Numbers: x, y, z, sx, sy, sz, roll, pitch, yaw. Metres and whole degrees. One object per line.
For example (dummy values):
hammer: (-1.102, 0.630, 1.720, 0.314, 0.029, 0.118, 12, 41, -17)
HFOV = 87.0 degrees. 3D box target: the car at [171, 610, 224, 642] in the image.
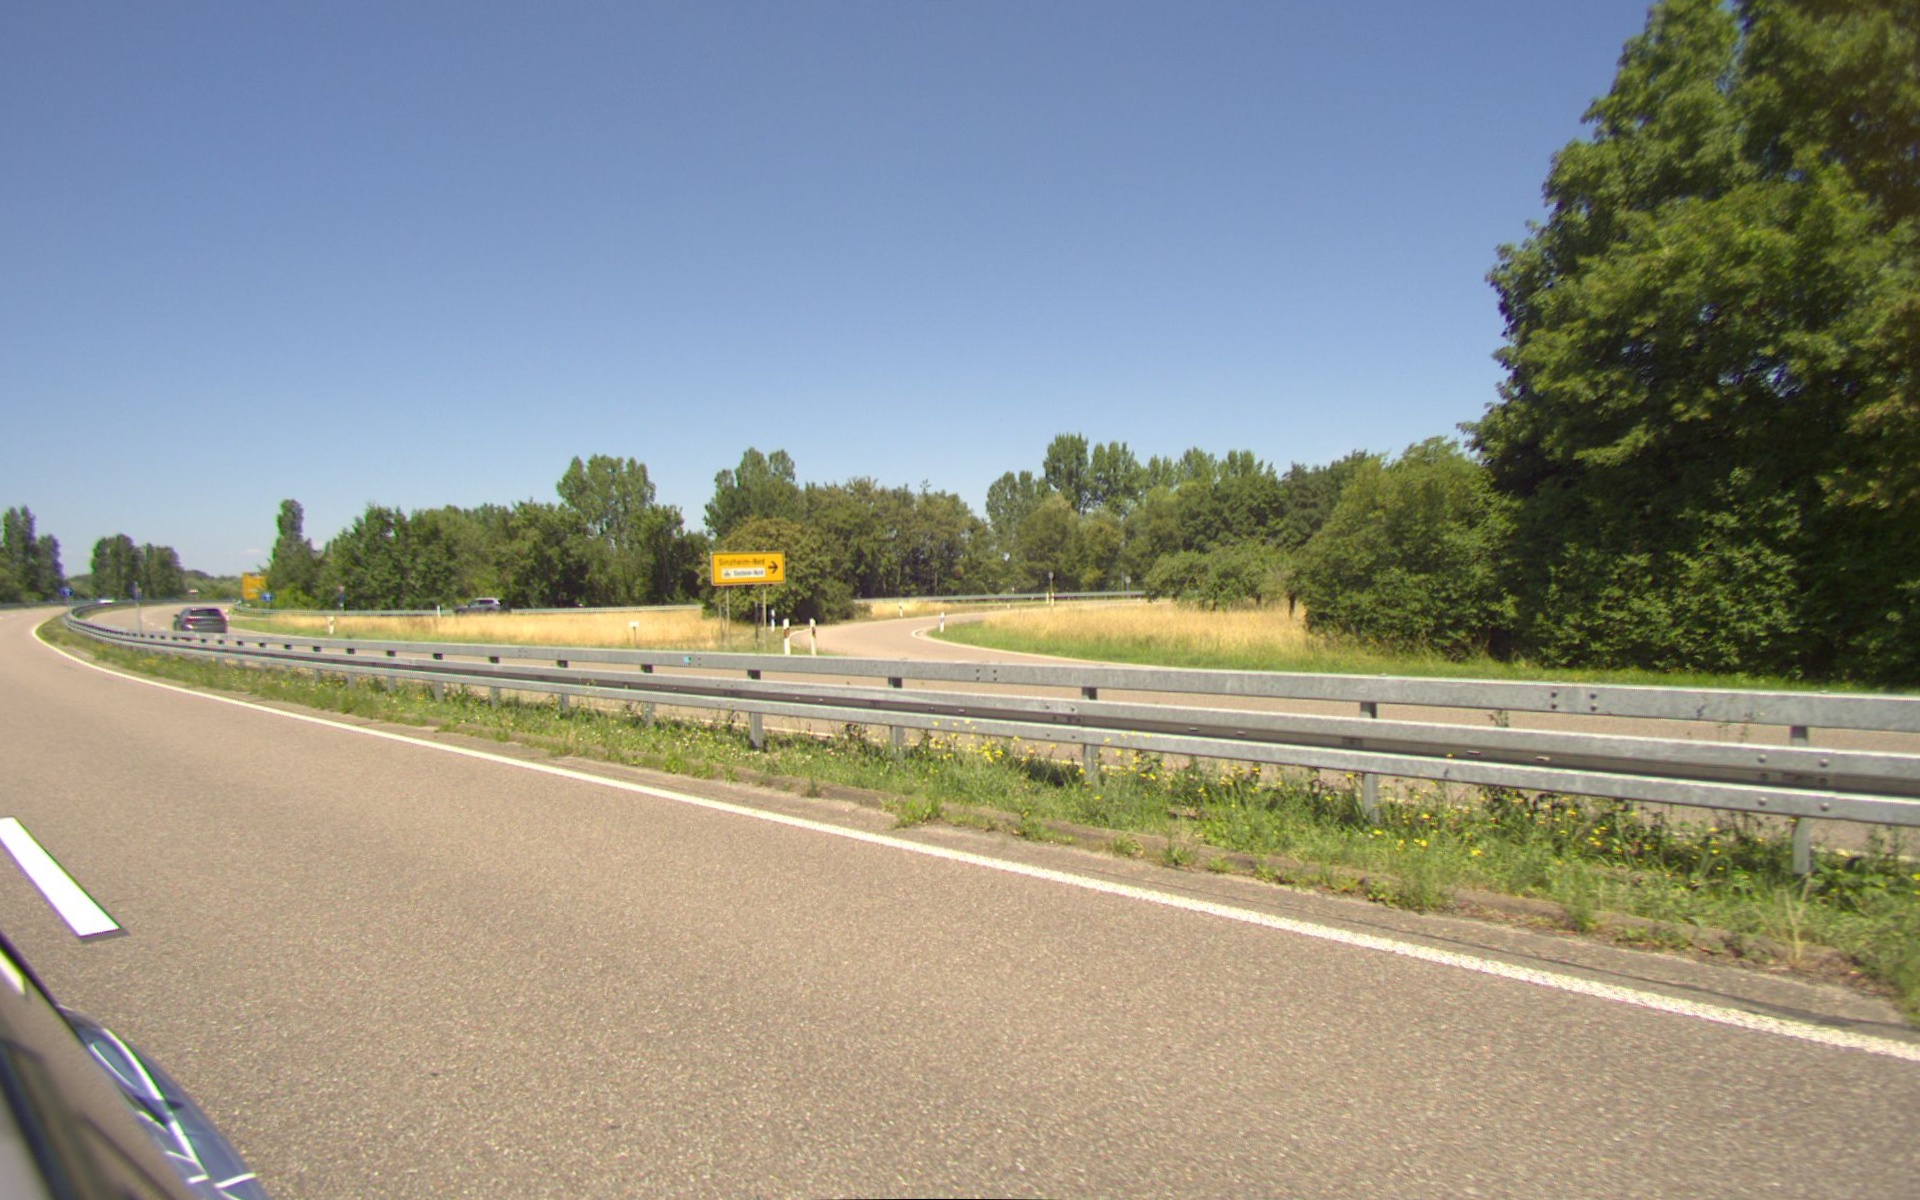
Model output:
car: (-40.201, 1.360, 53.310, 1.802, 1.630, 4.545, 0, -1, -42)

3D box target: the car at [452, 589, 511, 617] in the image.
car: (-39.611, 0.235, 83.839, 3.950, 2.028, 1.997, -2, 2, 6)
